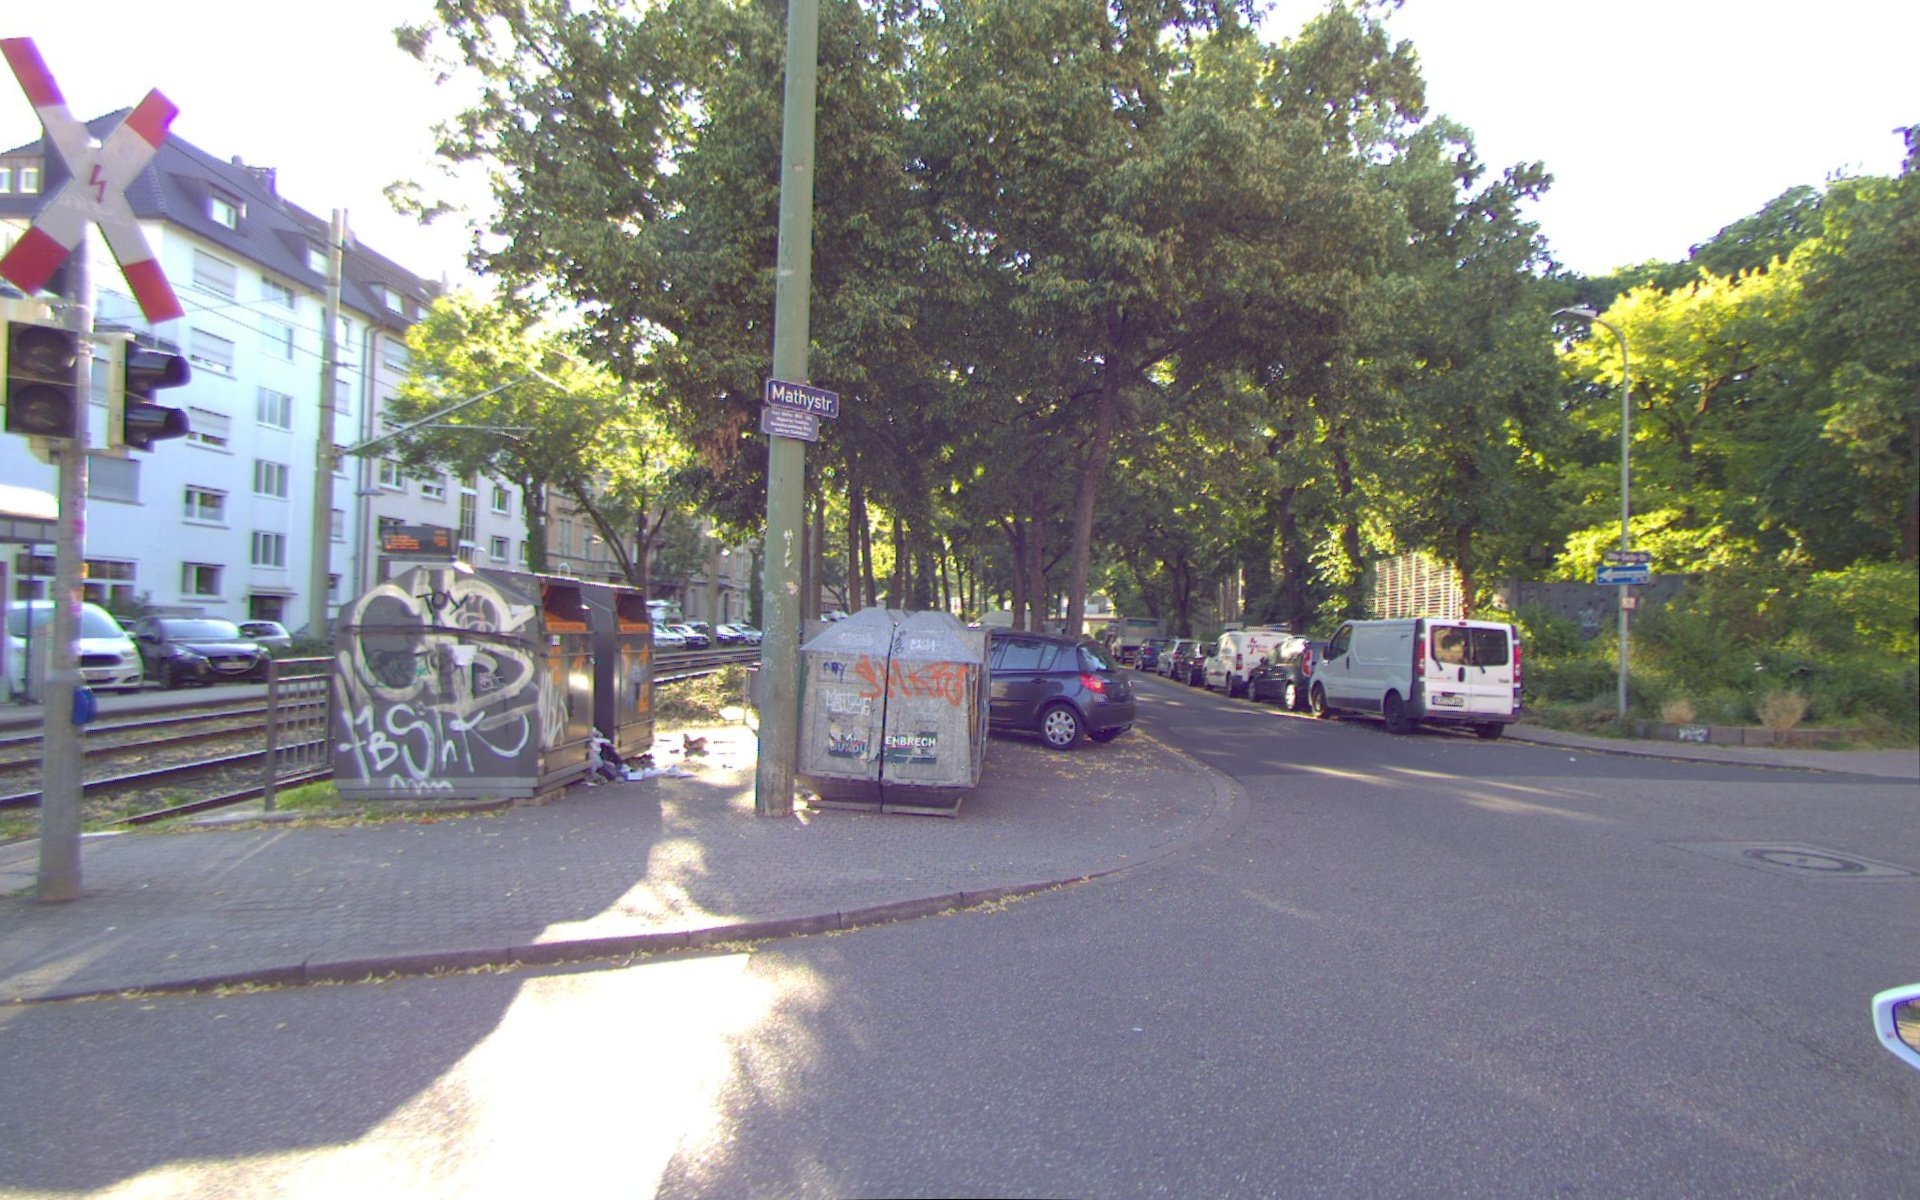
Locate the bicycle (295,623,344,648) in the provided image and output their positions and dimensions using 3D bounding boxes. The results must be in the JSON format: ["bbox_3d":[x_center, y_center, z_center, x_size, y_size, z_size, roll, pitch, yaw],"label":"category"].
[{"bbox_3d":[-27.097,1.504,42.507,0.522,1.016,2.177,2,-1,4],"label":"bicycle"}]

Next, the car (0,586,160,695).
[{"bbox_3d":[-15.477,0.740,17.278,4.173,1.674,1.602,-4,-2,36],"label":"car"}]

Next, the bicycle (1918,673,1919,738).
[{"bbox_3d":[17.740,1.864,17.661,2.596,1.116,0.594,2,-1,-30],"label":"bicycle"}]

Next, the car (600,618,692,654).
[{"bbox_3d":[-14.636,1.688,46.759,4.170,1.492,1.853,-4,-2,33],"label":"car"}]

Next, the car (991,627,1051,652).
[{"bbox_3d":[4.539,2.918,74.576,4.025,1.492,1.814,3,-2,36],"label":"car"}]

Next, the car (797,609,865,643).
[{"bbox_3d":[-10.475,2.122,81.681,5.180,2.605,2.267,-4,-2,33],"label":"car"}]

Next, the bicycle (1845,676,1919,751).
[{"bbox_3d":[15.393,1.822,16.354,2.594,1.116,0.594,2,-1,-28],"label":"bicycle"}]

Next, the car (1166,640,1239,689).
[{"bbox_3d":[7.865,2.068,32.861,1.545,1.404,3.601,1,-1,1],"label":"car"}]

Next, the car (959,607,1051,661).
[{"bbox_3d":[2.375,1.770,53.149,4.426,2.508,1.814,3,-2,36],"label":"car"}]

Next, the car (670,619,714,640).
[{"bbox_3d":[-19.613,2.153,73.635,1.681,1.465,4.003,0,-1,7],"label":"car"}]

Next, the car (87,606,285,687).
[{"bbox_3d":[-15.715,0.953,20.354,4.132,1.455,1.698,-3,-2,30],"label":"car"}]

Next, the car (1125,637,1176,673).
[{"bbox_3d":[8.177,2.330,43.364,1.545,1.403,3.601,1,-1,1],"label":"car"}]

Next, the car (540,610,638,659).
[{"bbox_3d":[-14.807,1.388,39.994,4.180,1.772,1.848,-4,-3,41],"label":"car"}]

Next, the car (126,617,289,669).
[{"bbox_3d":[-22.894,1.268,30.758,1.681,1.465,4.003,0,-1,7],"label":"car"}]

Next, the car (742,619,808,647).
[{"bbox_3d":[-12.336,2.195,66.982,4.170,1.721,1.853,-4,-2,33],"label":"car"}]

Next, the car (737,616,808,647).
[{"bbox_3d":[-11.537,1.965,61.745,4.170,1.721,1.853,-4,-2,33],"label":"car"}]

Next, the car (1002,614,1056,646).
[{"bbox_3d":[5.713,2.485,83.273,4.025,2.238,1.814,3,-2,36],"label":"car"}]

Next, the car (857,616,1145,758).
[{"bbox_3d":[0.559,1.143,14.216,3.667,1.540,1.606,4,0,28],"label":"car"}]

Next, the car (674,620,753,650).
[{"bbox_3d":[-13.559,1.921,55.174,4.170,1.492,1.853,-4,-2,33],"label":"car"}]

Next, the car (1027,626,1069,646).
[{"bbox_3d":[9.368,3.827,106.927,4.025,1.812,1.814,3,-2,36],"label":"car"}]

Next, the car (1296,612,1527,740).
[{"bbox_3d":[8.092,1.286,18.573,1.913,2.029,4.658,2,-1,-4],"label":"car"}]

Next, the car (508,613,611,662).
[{"bbox_3d":[-15.017,1.416,37.575,4.180,1.673,1.848,-4,-3,41],"label":"car"}]

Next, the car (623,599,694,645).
[{"bbox_3d":[-20.096,1.474,67.228,2.509,2.925,5.485,0,-1,7],"label":"car"}]

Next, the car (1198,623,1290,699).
[{"bbox_3d":[7.809,1.630,27.905,1.545,1.928,3.903,1,-1,2],"label":"car"}]

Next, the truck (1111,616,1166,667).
[{"bbox_3d":[9.052,2.082,51.190,2.326,2.383,4.386,1,-1,5],"label":"truck"}]

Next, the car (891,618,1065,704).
[{"bbox_3d":[0.398,1.349,22.939,3.553,1.583,1.605,4,0,28],"label":"car"}]

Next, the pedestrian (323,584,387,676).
[{"bbox_3d":[-13.147,0.651,21.861,0.834,1.936,0.838,1,-1,-2],"label":"pedestrian"}]

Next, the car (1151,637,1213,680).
[{"bbox_3d":[8.294,2.161,37.752,1.545,1.486,3.601,1,-1,1],"label":"car"}]

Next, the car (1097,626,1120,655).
[{"bbox_3d":[10.363,2.814,70.251,1.544,1.966,3.603,1,-1,7],"label":"car"}]

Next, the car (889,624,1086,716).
[{"bbox_3d":[0.540,1.353,20.152,3.552,1.466,1.606,4,0,28],"label":"car"}]

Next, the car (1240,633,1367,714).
[{"bbox_3d":[7.852,1.629,23.319,1.546,1.659,3.711,2,-1,-2],"label":"car"}]

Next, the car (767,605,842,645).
[{"bbox_3d":[-11.328,1.835,72.988,5.180,2.605,2.267,-4,-2,33],"label":"car"}]
